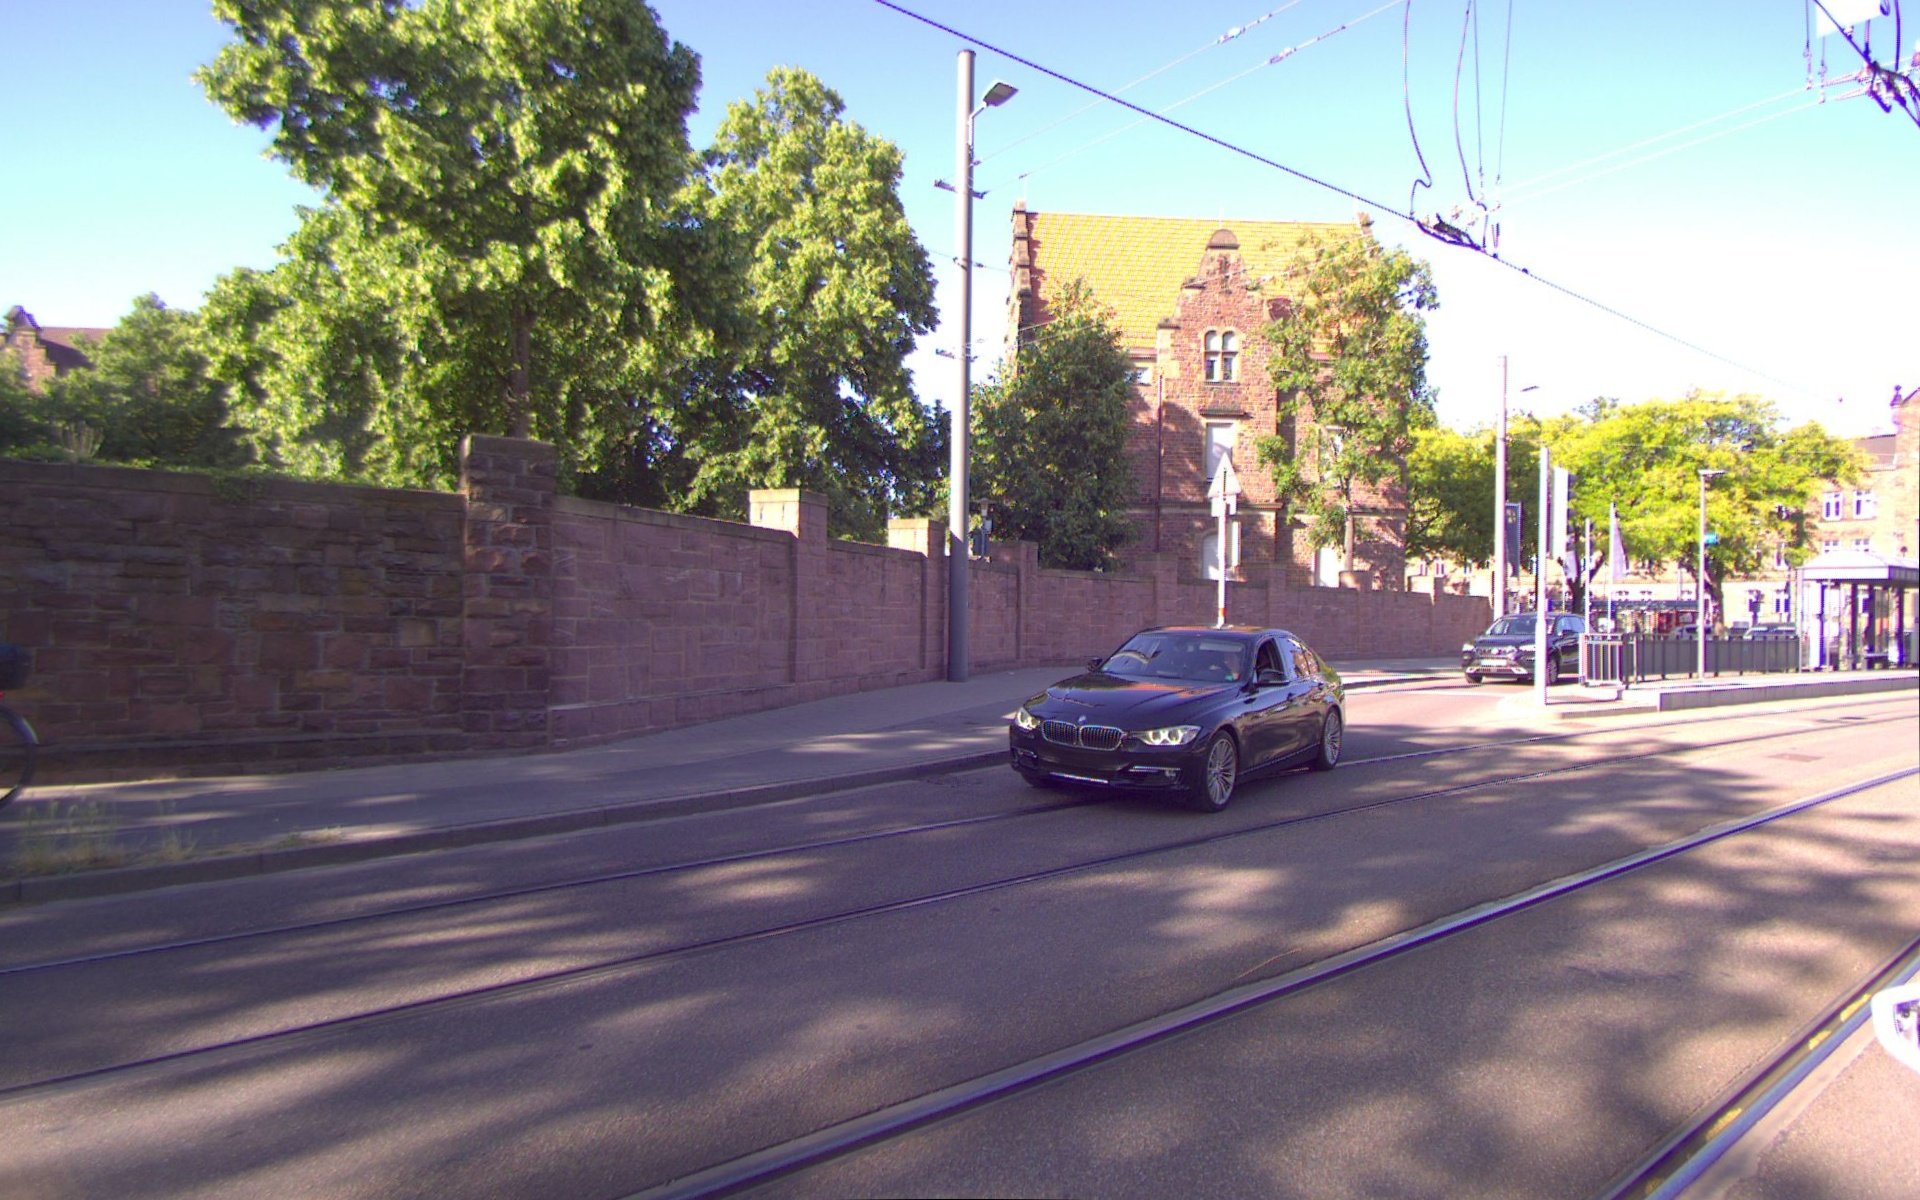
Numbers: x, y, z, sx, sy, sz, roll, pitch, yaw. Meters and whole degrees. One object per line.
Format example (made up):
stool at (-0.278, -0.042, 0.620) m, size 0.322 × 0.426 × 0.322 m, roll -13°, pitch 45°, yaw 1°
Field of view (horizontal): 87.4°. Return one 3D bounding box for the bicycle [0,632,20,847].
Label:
bicycle at (-6.228, 0.765, 5.019) m, size 2.078 × 1.207 × 0.768 m, roll 2°, pitch 0°, yaw -30°

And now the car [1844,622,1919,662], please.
car at (36.081, 1.608, 38.729) m, size 4.575 × 1.434 × 1.872 m, roll 1°, pitch -1°, yaw -33°

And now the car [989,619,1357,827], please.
car at (2.196, 0.928, 9.342) m, size 1.713 × 1.441 × 4.244 m, roll 1°, pitch -1°, yaw 37°

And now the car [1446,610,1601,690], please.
car at (12.822, 1.088, 22.771) m, size 4.088 × 1.638 × 1.903 m, roll 2°, pitch -2°, yaw -42°

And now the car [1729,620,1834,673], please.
car at (27.257, 1.508, 33.283) m, size 4.080 × 1.659 × 1.783 m, roll 1°, pitch -1°, yaw -37°

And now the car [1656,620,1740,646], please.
car at (48.381, 2.157, 65.953) m, size 1.855 × 1.542 × 4.045 m, roll 2°, pitch 0°, yaw -30°

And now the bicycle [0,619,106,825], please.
bicycle at (-6.501, 0.719, 5.962) m, size 2.065 × 1.207 × 0.727 m, roll 2°, pitch 0°, yaw -32°

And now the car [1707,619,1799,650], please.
car at (46.491, 1.998, 58.945) m, size 1.730 × 1.682 × 3.840 m, roll 2°, pitch 0°, yaw -30°
